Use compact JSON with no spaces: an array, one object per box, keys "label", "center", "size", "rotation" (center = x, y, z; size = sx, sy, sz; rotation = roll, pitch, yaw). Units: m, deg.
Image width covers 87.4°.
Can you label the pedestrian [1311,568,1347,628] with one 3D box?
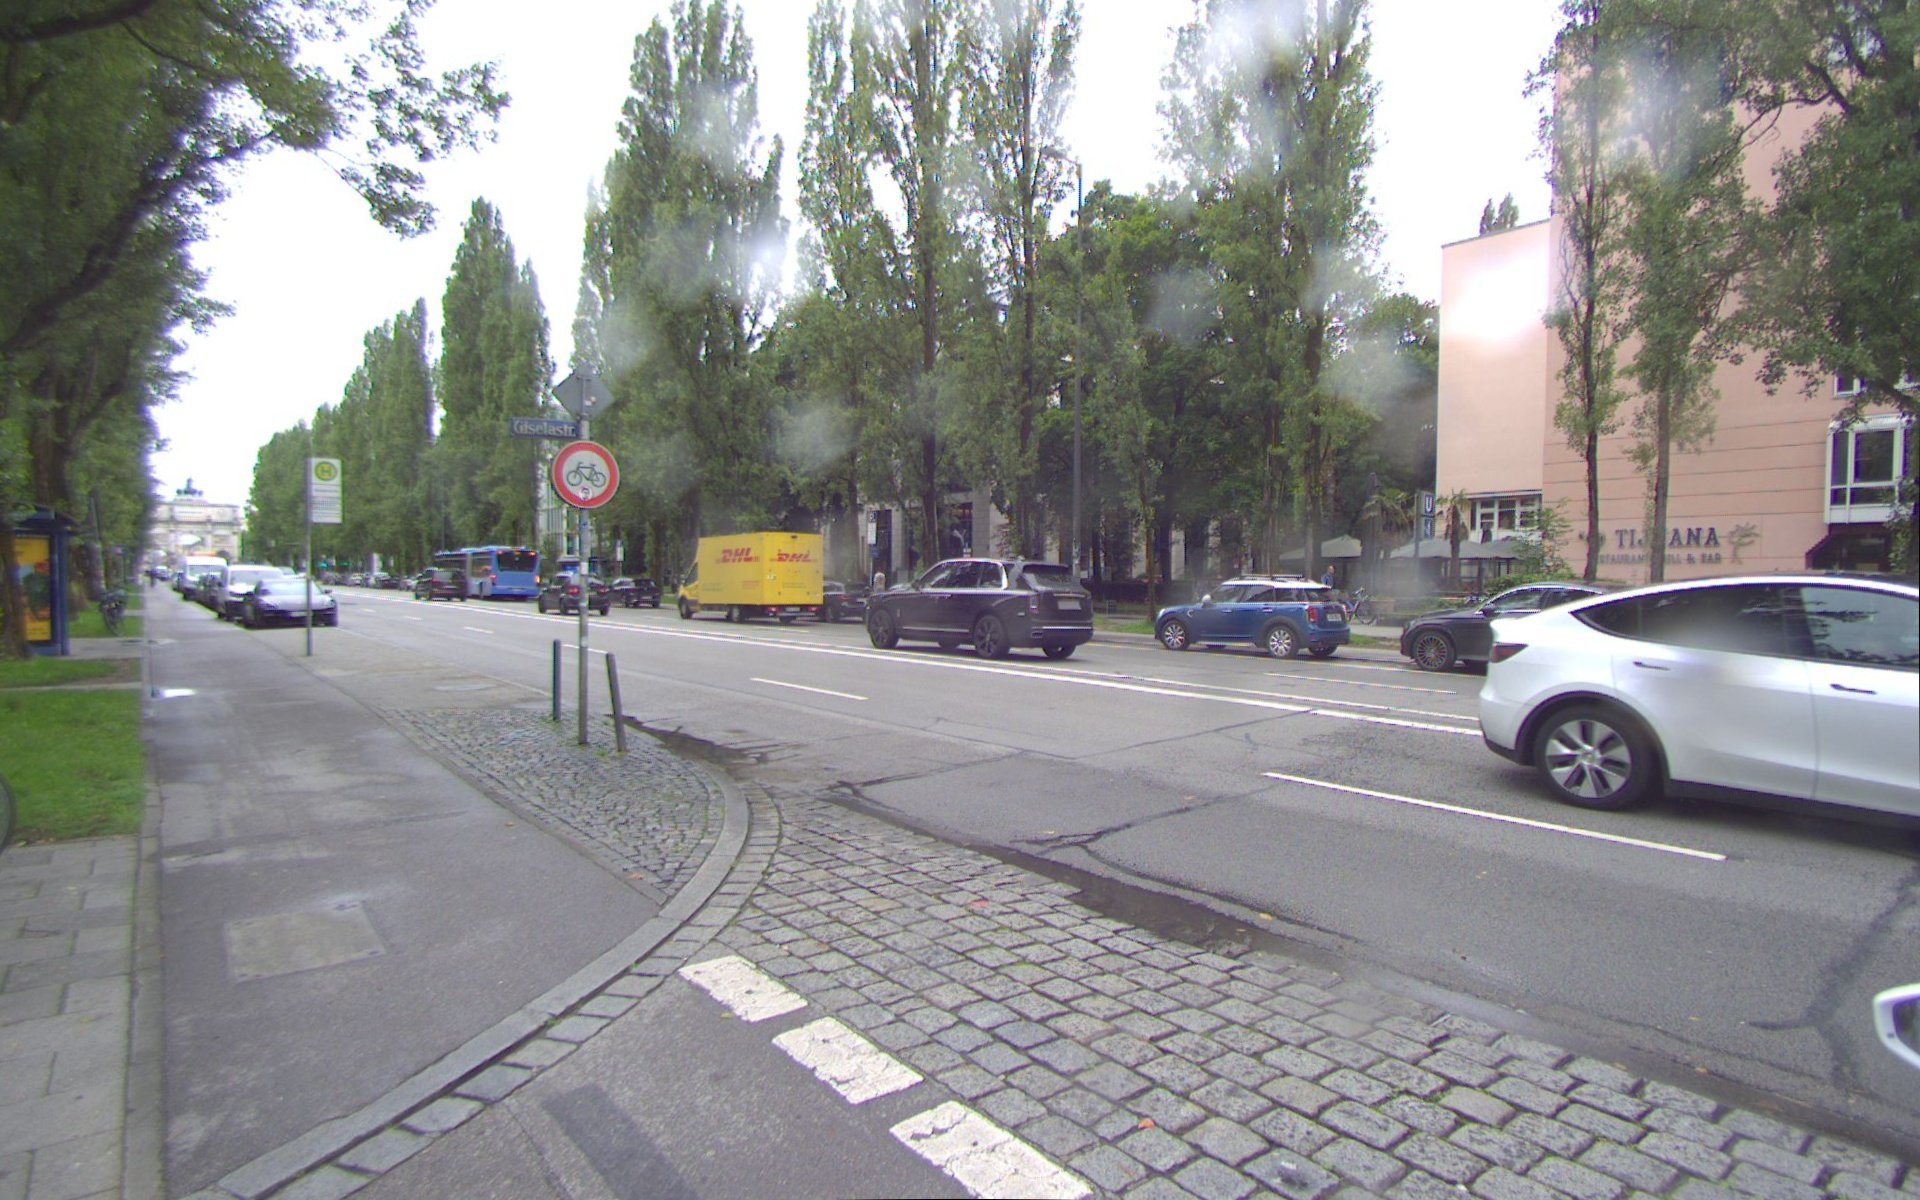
[{"label":"pedestrian","center":[10.918,-0.071,29.703],"size":[0.703,1.737,0.723],"rotation":[-1,2,-39]}]

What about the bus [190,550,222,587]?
[{"label":"bus","center":[-90.290,-3.723,120.263],"size":[2.627,4.167,9.683],"rotation":[-1,2,-39]}]

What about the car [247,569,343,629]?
[{"label":"car","center":[-19.378,-0.087,29.186],"size":[1.995,1.602,3.955],"rotation":[-1,2,-38]}]

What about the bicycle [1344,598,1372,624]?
[{"label":"bicycle","center":[12.701,0.342,32.064],"size":[1.018,0.809,0.322],"rotation":[-1,2,-34]}]

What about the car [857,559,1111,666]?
[{"label":"car","center":[0.306,0.157,19.126],"size":[1.984,1.772,5.002],"rotation":[0,1,-41]}]

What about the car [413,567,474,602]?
[{"label":"car","center":[-27.164,-0.832,52.770],"size":[1.983,1.745,4.761],"rotation":[0,1,-39]}]

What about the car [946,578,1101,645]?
[{"label":"car","center":[1.619,0.228,26.806],"size":[1.778,1.622,4.188],"rotation":[-1,2,-39]}]

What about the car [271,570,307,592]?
[{"label":"car","center":[-52.963,-1.533,79.220],"size":[1.994,1.602,3.955],"rotation":[-4,4,-38]}]

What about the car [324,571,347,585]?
[{"label":"car","center":[-78.861,-2.750,126.746],"size":[1.983,1.745,4.299],"rotation":[0,1,-39]}]

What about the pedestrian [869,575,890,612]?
[{"label":"pedestrian","center":[-3.770,-0.307,47.068],"size":[0.703,1.737,0.723],"rotation":[-1,2,-39]}]

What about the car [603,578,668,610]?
[{"label":"car","center":[-15.792,-0.314,48.801],"size":[1.778,1.431,3.837],"rotation":[-1,2,-39]}]

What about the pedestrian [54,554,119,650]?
[{"label":"pedestrian","center":[-17.492,0.033,20.123],"size":[0.757,1.868,0.885],"rotation":[2,3,43]}]

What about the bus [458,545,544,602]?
[{"label":"bus","center":[-26.938,-1.540,58.660],"size":[2.899,3.093,8.429],"rotation":[-1,2,-36]}]

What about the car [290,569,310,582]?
[{"label":"car","center":[-93.227,-3.435,141.920],"size":[1.983,1.745,4.299],"rotation":[0,1,-39]}]

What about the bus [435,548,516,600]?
[{"label":"bus","center":[-31.246,-1.656,64.546],"size":[2.899,3.093,9.694],"rotation":[-1,2,-36]}]

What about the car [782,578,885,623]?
[{"label":"car","center":[-4.393,-0.015,34.516],"size":[1.778,1.431,3.837],"rotation":[-1,2,-39]}]

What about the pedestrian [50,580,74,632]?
[{"label":"pedestrian","center":[-29.841,0.181,33.374],"size":[0.512,1.715,0.481],"rotation":[-1,2,-36]}]

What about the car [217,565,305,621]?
[{"label":"car","center":[-23.787,-0.238,34.138],"size":[1.996,1.781,3.952],"rotation":[-2,1,-41]}]

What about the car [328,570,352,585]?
[{"label":"car","center":[-75.290,-2.777,122.043],"size":[1.983,1.745,4.299],"rotation":[0,1,-39]}]

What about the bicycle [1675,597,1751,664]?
[{"label":"bicycle","center":[14.014,0.538,18.677],"size":[1.972,1.139,0.668],"rotation":[-1,2,-40]}]

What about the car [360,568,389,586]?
[{"label":"car","center":[-61.114,-2.402,104.812],"size":[1.983,1.745,4.299],"rotation":[0,1,-39]}]

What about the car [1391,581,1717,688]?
[{"label":"car","center":[9.967,0.463,17.170],"size":[1.778,1.549,4.463],"rotation":[-1,2,-39]}]

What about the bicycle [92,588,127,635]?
[{"label":"bicycle","center":[-20.233,0.257,23.883],"size":[0.550,1.036,1.740],"rotation":[-2,2,-42]}]

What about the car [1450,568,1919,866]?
[{"label":"car","center":[5.837,0.618,6.306],"size":[1.983,1.597,4.585],"rotation":[-3,3,-39]}]

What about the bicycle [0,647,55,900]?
[{"label":"bicycle","center":[-5.158,0.803,4.203],"size":[1.964,1.108,0.487],"rotation":[-1,2,-35]}]

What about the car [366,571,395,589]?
[{"label":"car","center":[-58.365,-2.055,101.115],"size":[1.983,1.745,4.299],"rotation":[0,1,-39]}]

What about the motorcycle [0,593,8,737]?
[{"label":"motorcycle","center":[-9.003,0.464,8.202],"size":[1.951,1.211,0.630],"rotation":[5,2,6]}]

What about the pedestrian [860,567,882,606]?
[{"label":"pedestrian","center":[-4.053,-0.625,45.698],"size":[0.703,1.737,0.723],"rotation":[-1,2,-39]}]

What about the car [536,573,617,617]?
[{"label":"car","center":[-14.322,-0.216,37.409],"size":[1.832,1.547,3.711],"rotation":[0,2,-38]}]

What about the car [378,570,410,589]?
[{"label":"car","center":[-54.601,-1.941,96.807],"size":[1.983,1.745,4.761],"rotation":[0,1,-39]}]

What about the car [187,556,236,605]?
[{"label":"car","center":[-43.643,-1.164,58.514],"size":[1.995,2.667,5.931],"rotation":[-1,2,-39]}]

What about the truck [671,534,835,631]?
[{"label":"truck","center":[-7.167,-0.629,34.016],"size":[2.578,2.947,7.001],"rotation":[-1,2,-38]}]

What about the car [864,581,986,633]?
[{"label":"car","center":[-1.107,0.167,30.520],"size":[1.778,1.431,3.837],"rotation":[-1,2,-39]}]

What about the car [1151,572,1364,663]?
[{"label":"car","center":[6.270,0.311,21.506],"size":[1.779,1.755,4.029],"rotation":[1,1,-41]}]

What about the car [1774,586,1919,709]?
[{"label":"car","center":[13.421,0.625,12.717],"size":[1.778,1.549,4.570],"rotation":[-1,2,-39]}]

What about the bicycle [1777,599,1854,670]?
[{"label":"bicycle","center":[14.935,0.570,17.521],"size":[1.972,1.139,0.668],"rotation":[-1,2,-40]}]

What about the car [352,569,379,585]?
[{"label":"car","center":[-65.507,-2.560,110.642],"size":[1.983,1.745,4.299],"rotation":[0,1,-39]}]

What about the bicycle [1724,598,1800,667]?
[{"label":"bicycle","center":[14.484,0.554,18.125],"size":[1.972,1.139,0.668],"rotation":[-1,2,-40]}]

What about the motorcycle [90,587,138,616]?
[{"label":"motorcycle","center":[-29.041,0.054,34.479],"size":[1.629,0.951,0.467],"rotation":[1,2,18]}]

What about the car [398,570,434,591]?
[{"label":"car","center":[-47.803,-1.712,88.153],"size":[1.983,1.745,4.761],"rotation":[0,1,-39]}]
